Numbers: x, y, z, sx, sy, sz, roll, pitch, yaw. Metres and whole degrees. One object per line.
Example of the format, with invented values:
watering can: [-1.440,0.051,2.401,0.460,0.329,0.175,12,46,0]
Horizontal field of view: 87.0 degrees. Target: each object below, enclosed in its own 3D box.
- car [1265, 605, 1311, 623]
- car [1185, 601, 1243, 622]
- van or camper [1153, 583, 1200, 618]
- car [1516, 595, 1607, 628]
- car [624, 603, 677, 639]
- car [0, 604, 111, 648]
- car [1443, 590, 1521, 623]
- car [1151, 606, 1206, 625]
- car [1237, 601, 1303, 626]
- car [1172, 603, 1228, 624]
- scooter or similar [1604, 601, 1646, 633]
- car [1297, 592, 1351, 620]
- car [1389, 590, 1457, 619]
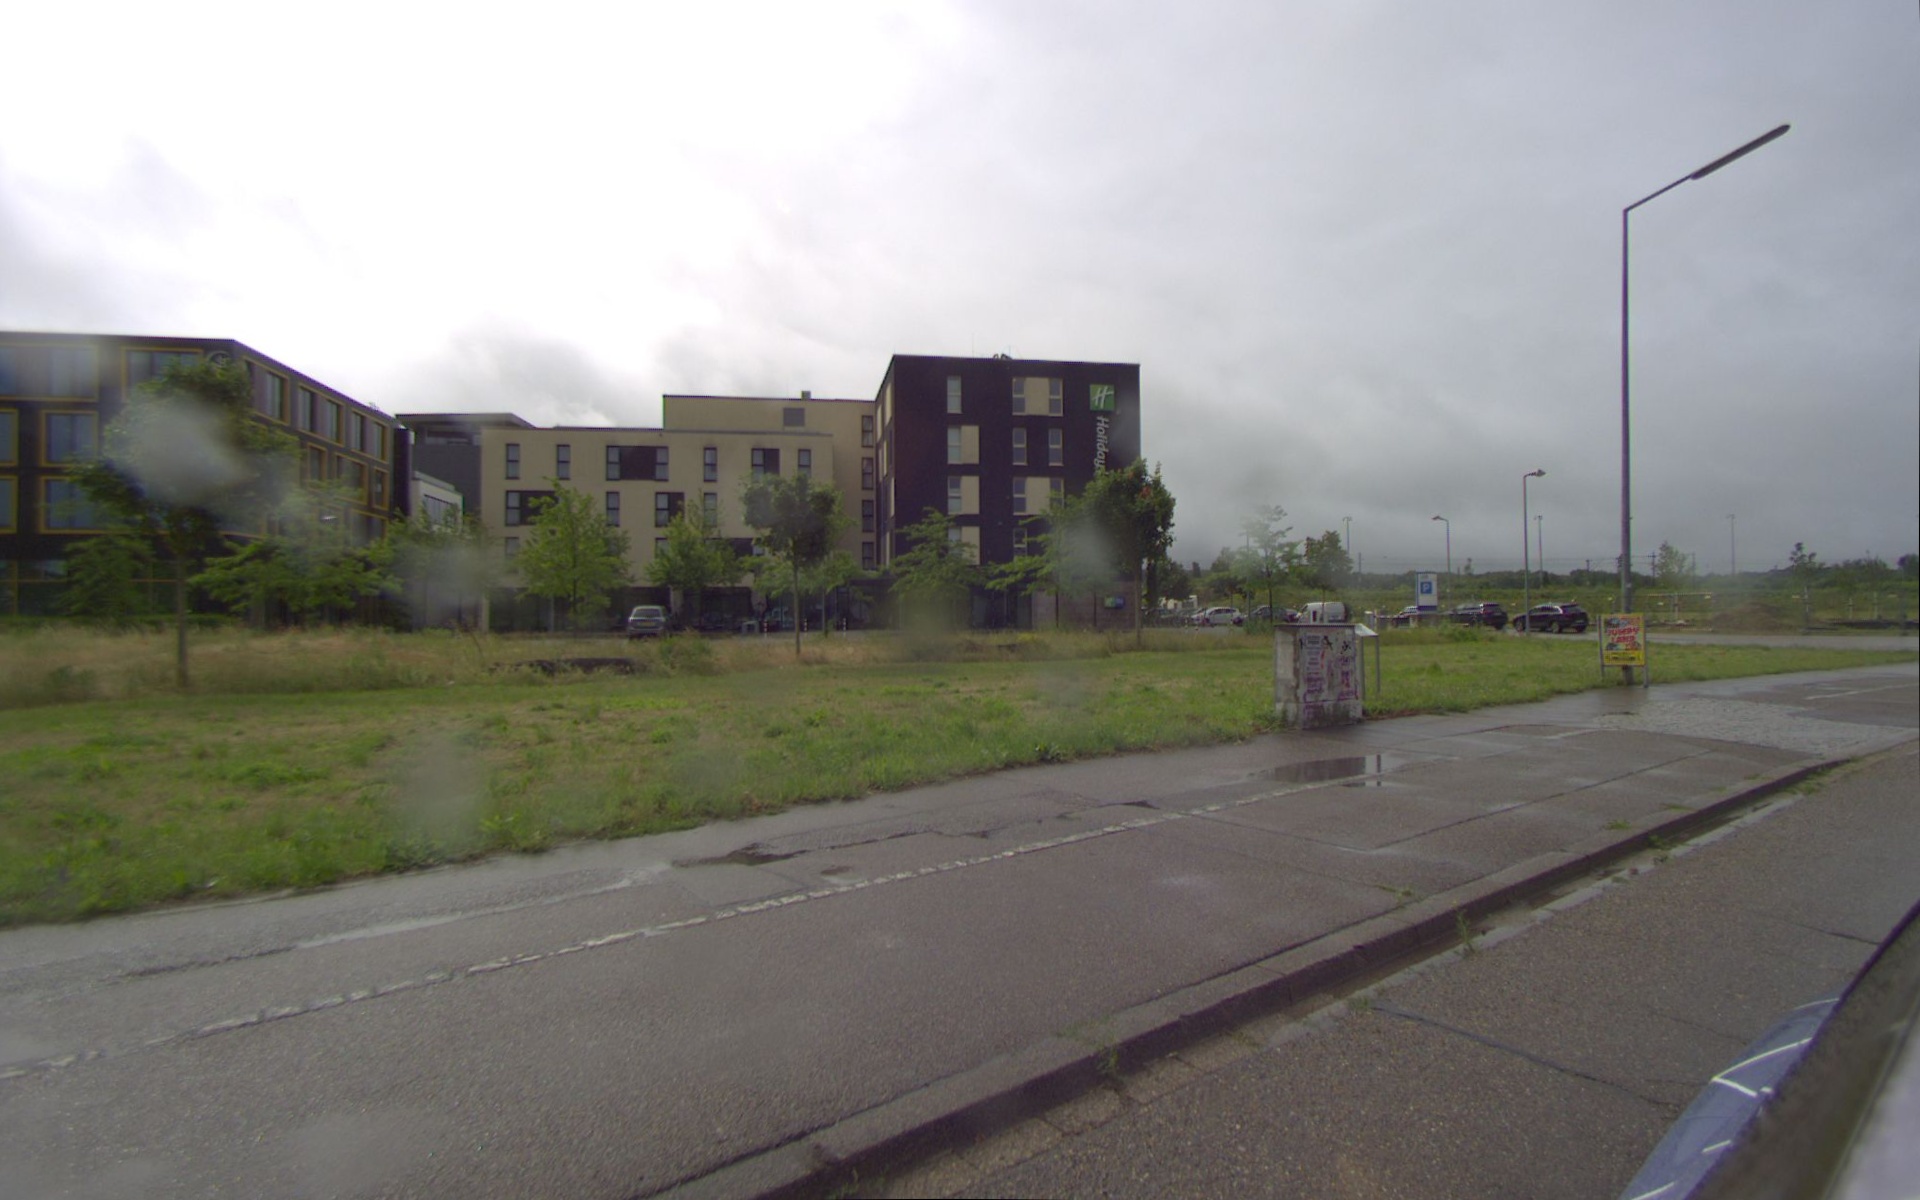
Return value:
car: [27.166,1.168,83.907,1.959,1.433,4.005,0,-2,-10]
car: [18.651,0.873,74.390,3.729,1.414,1.770,0,-4,-11]
van or camper: [23.254,0.120,109.101,2.477,3.244,6.807,0,-4,-10]
car: [32.985,0.632,55.642,1.958,1.638,4.007,-3,0,-14]
car: [-14.416,0.944,47.338,1.633,1.577,4.224,-1,0,-7]
car: [-39.067,1.095,43.325,1.959,1.784,4.562,0,-1,-7]
car: [31.684,0.413,61.566,1.958,1.751,4.005,0,-4,-14]
car: [17.038,1.212,79.024,3.762,1.414,1.787,0,-4,-11]
car: [20.563,0.894,67.180,3.762,1.548,1.787,0,-4,-11]
car: [18.154,1.052,76.557,3.703,1.415,1.645,-2,-3,-10]
scooter or similar: [26.294,0.675,40.013,0.494,1.202,1.283,2,-1,-39]
car: [28.284,0.472,78.762,1.959,1.796,4.340,0,-6,-9]
car: [30.401,0.346,66.589,1.958,1.663,4.005,0,-4,-14]
